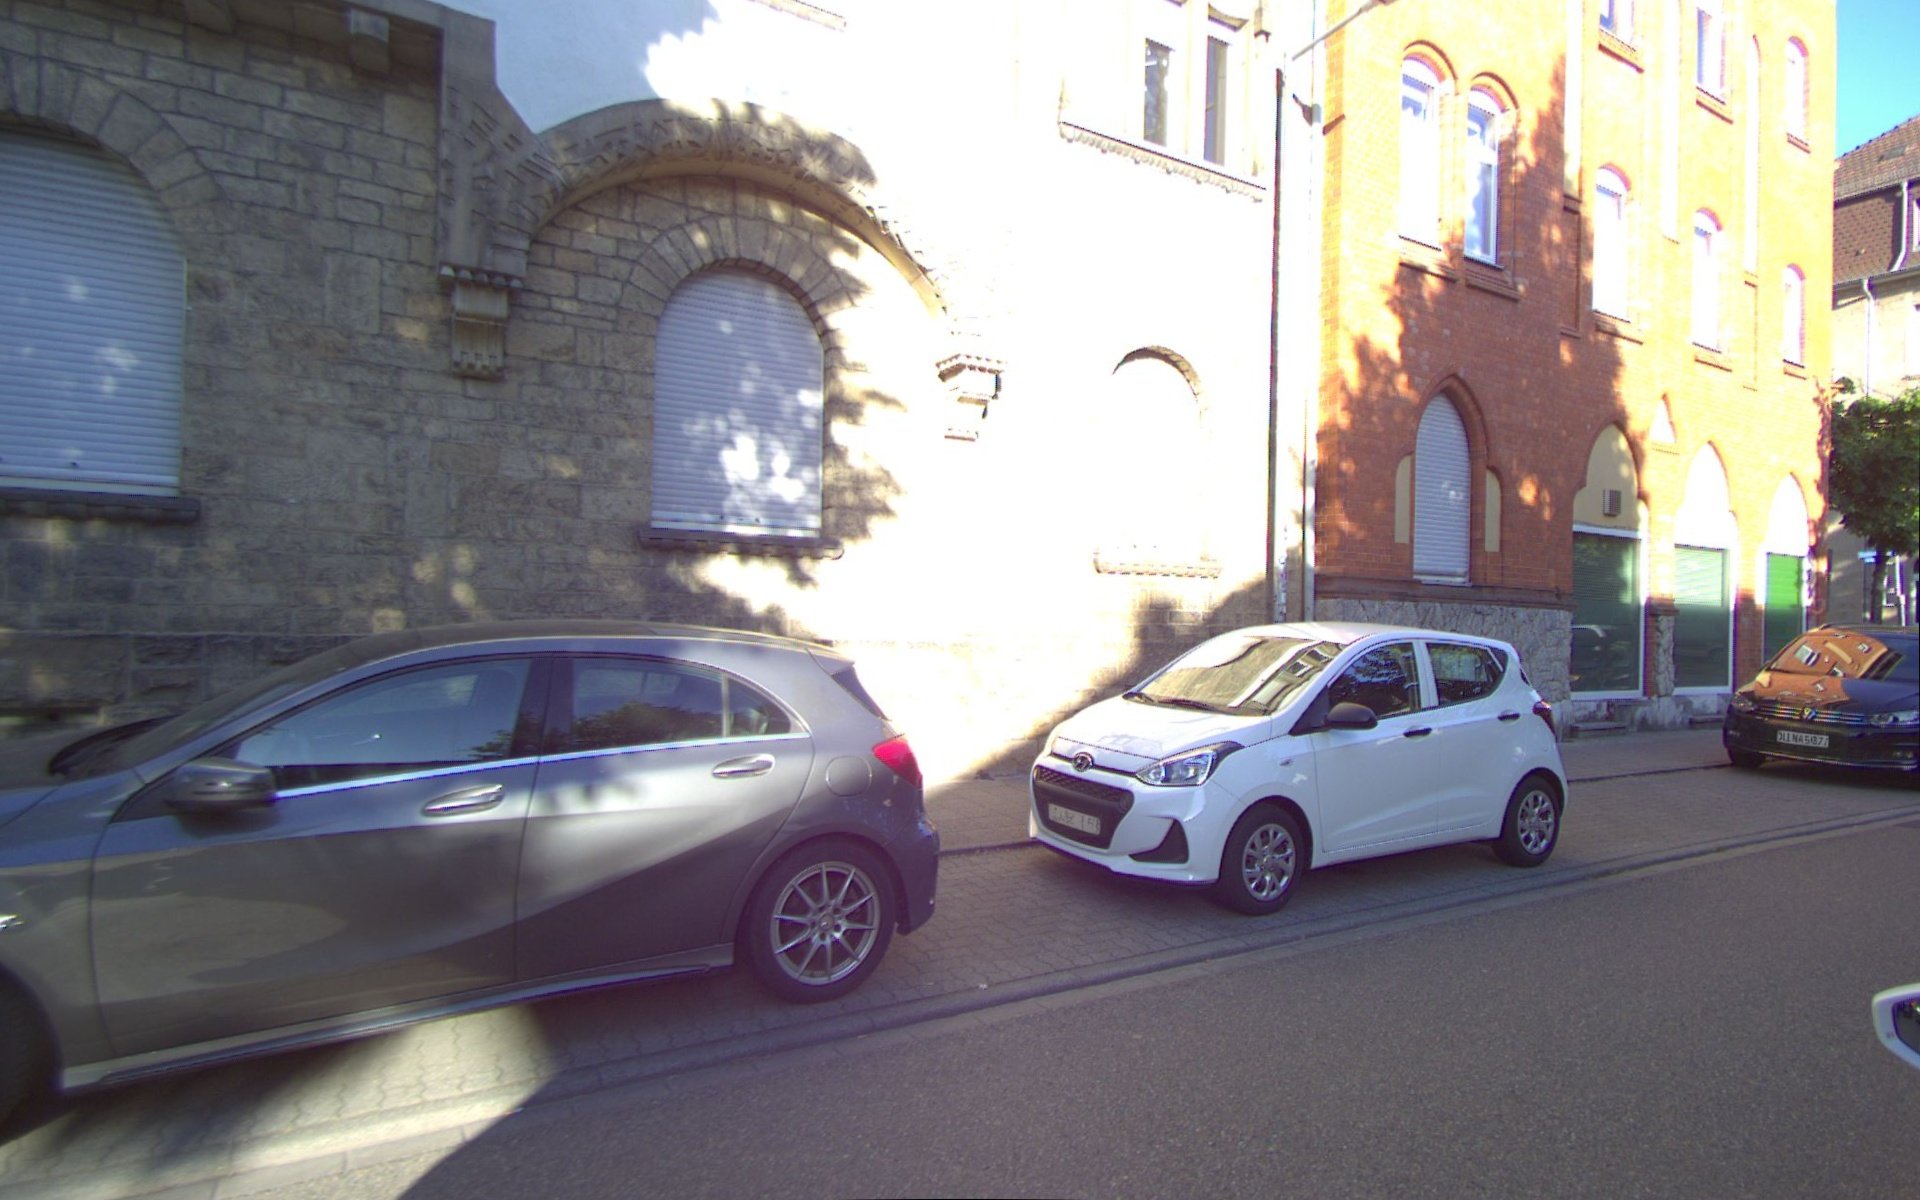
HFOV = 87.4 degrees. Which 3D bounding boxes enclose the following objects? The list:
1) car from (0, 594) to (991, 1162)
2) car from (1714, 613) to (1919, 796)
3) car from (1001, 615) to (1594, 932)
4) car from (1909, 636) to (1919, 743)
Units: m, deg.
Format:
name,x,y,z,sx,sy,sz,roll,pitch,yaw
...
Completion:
name,x,y,z,sx,sy,sz,roll,pitch,yaw
car,-2.040,0.754,3.897,4.065,1.462,1.668,1,0,-32
car,10.513,1.077,11.415,4.302,1.703,1.660,2,0,-32
car,2.184,0.883,6.366,3.547,1.490,1.560,1,0,-28
car,15.171,1.314,14.014,4.282,1.429,1.628,2,1,-30
